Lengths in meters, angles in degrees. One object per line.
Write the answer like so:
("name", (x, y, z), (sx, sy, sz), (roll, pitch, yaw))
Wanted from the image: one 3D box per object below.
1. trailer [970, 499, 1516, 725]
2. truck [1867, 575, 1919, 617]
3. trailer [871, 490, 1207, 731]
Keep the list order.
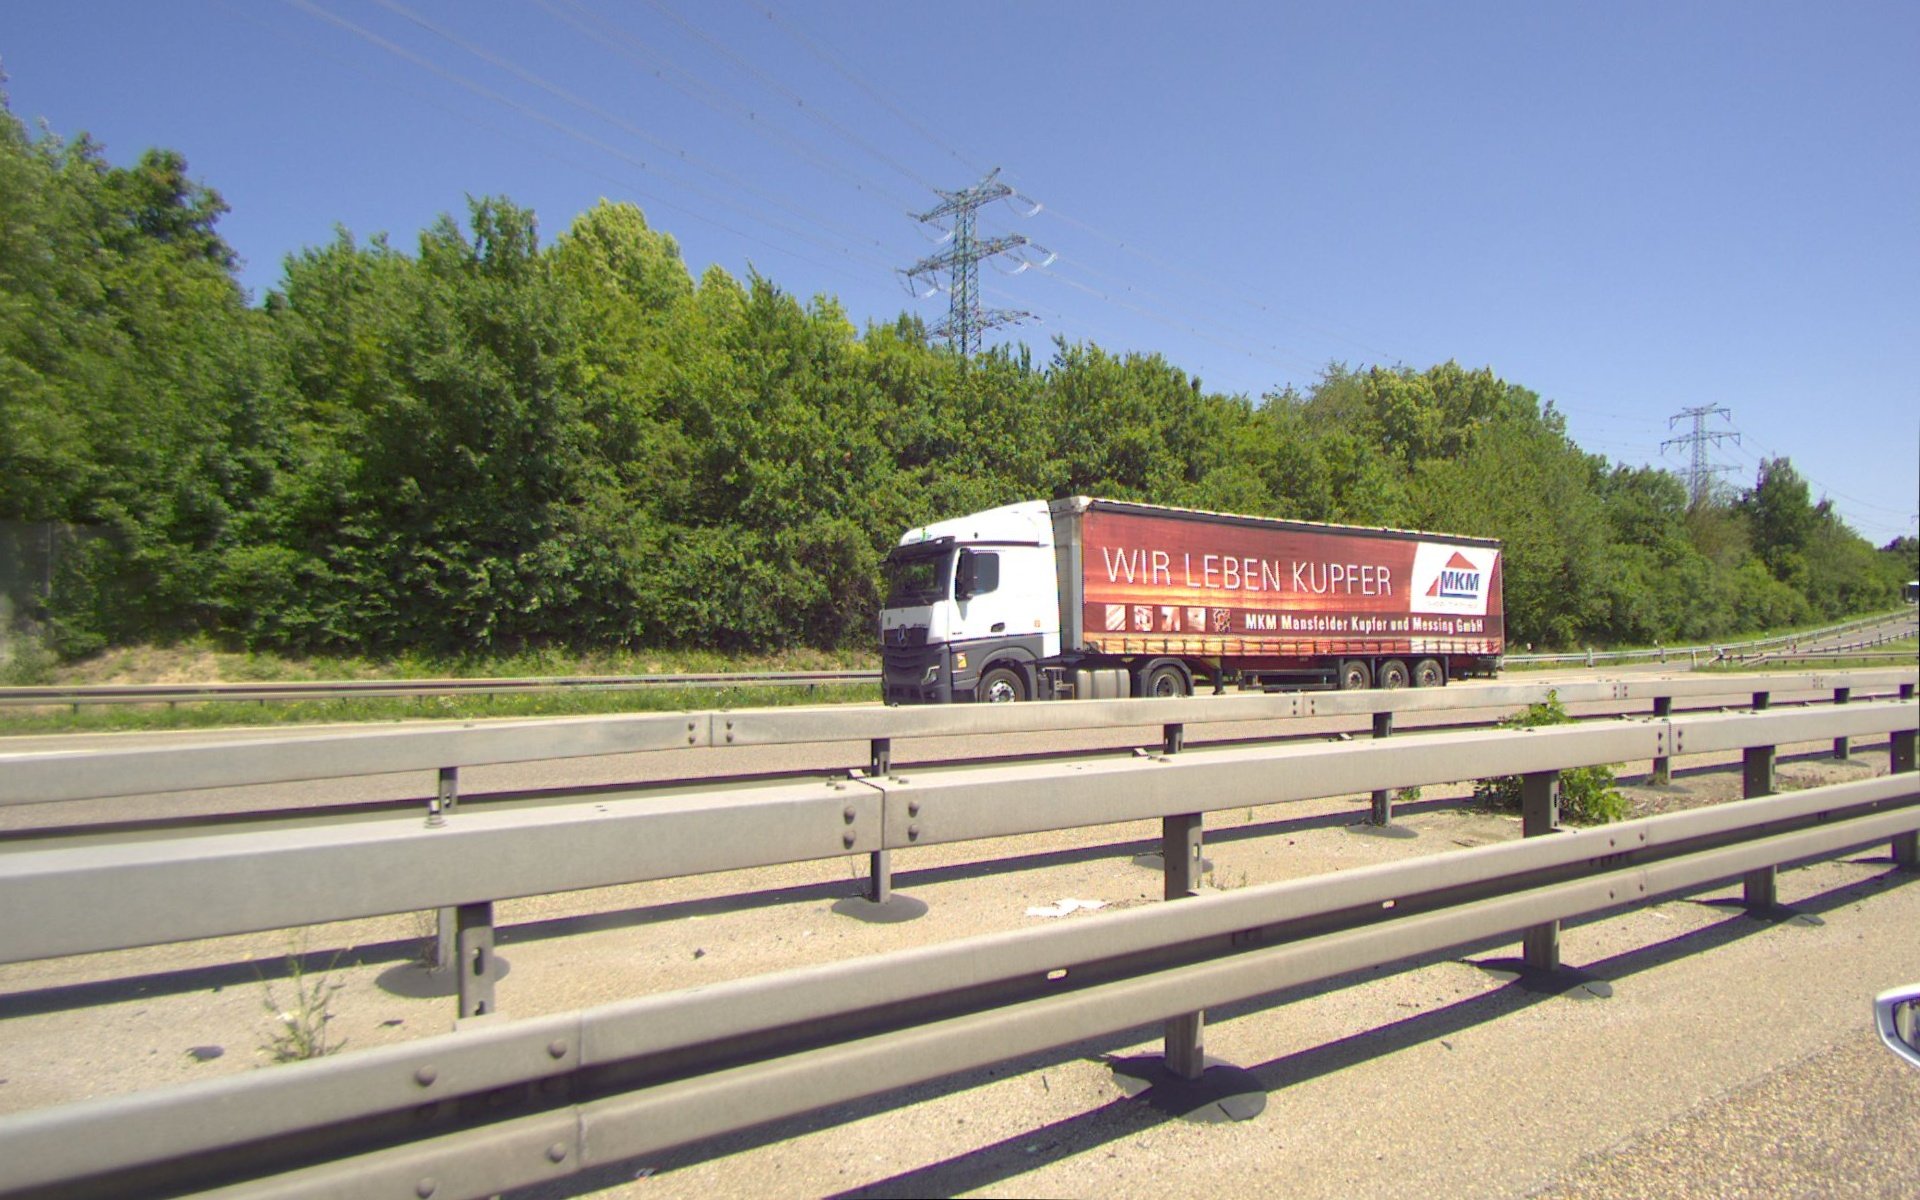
("trailer", (7.109, 0.384, 22.812), (14.512, 4.028, 2.750), (1, -2, -31))
("truck", (174.249, -0.633, 187.143), (4.602, 7.324, 13.619), (2, 0, 29))
("trailer", (1.590, 0.271, 19.492), (6.061, 4.028, 2.744), (1, -2, -31))
